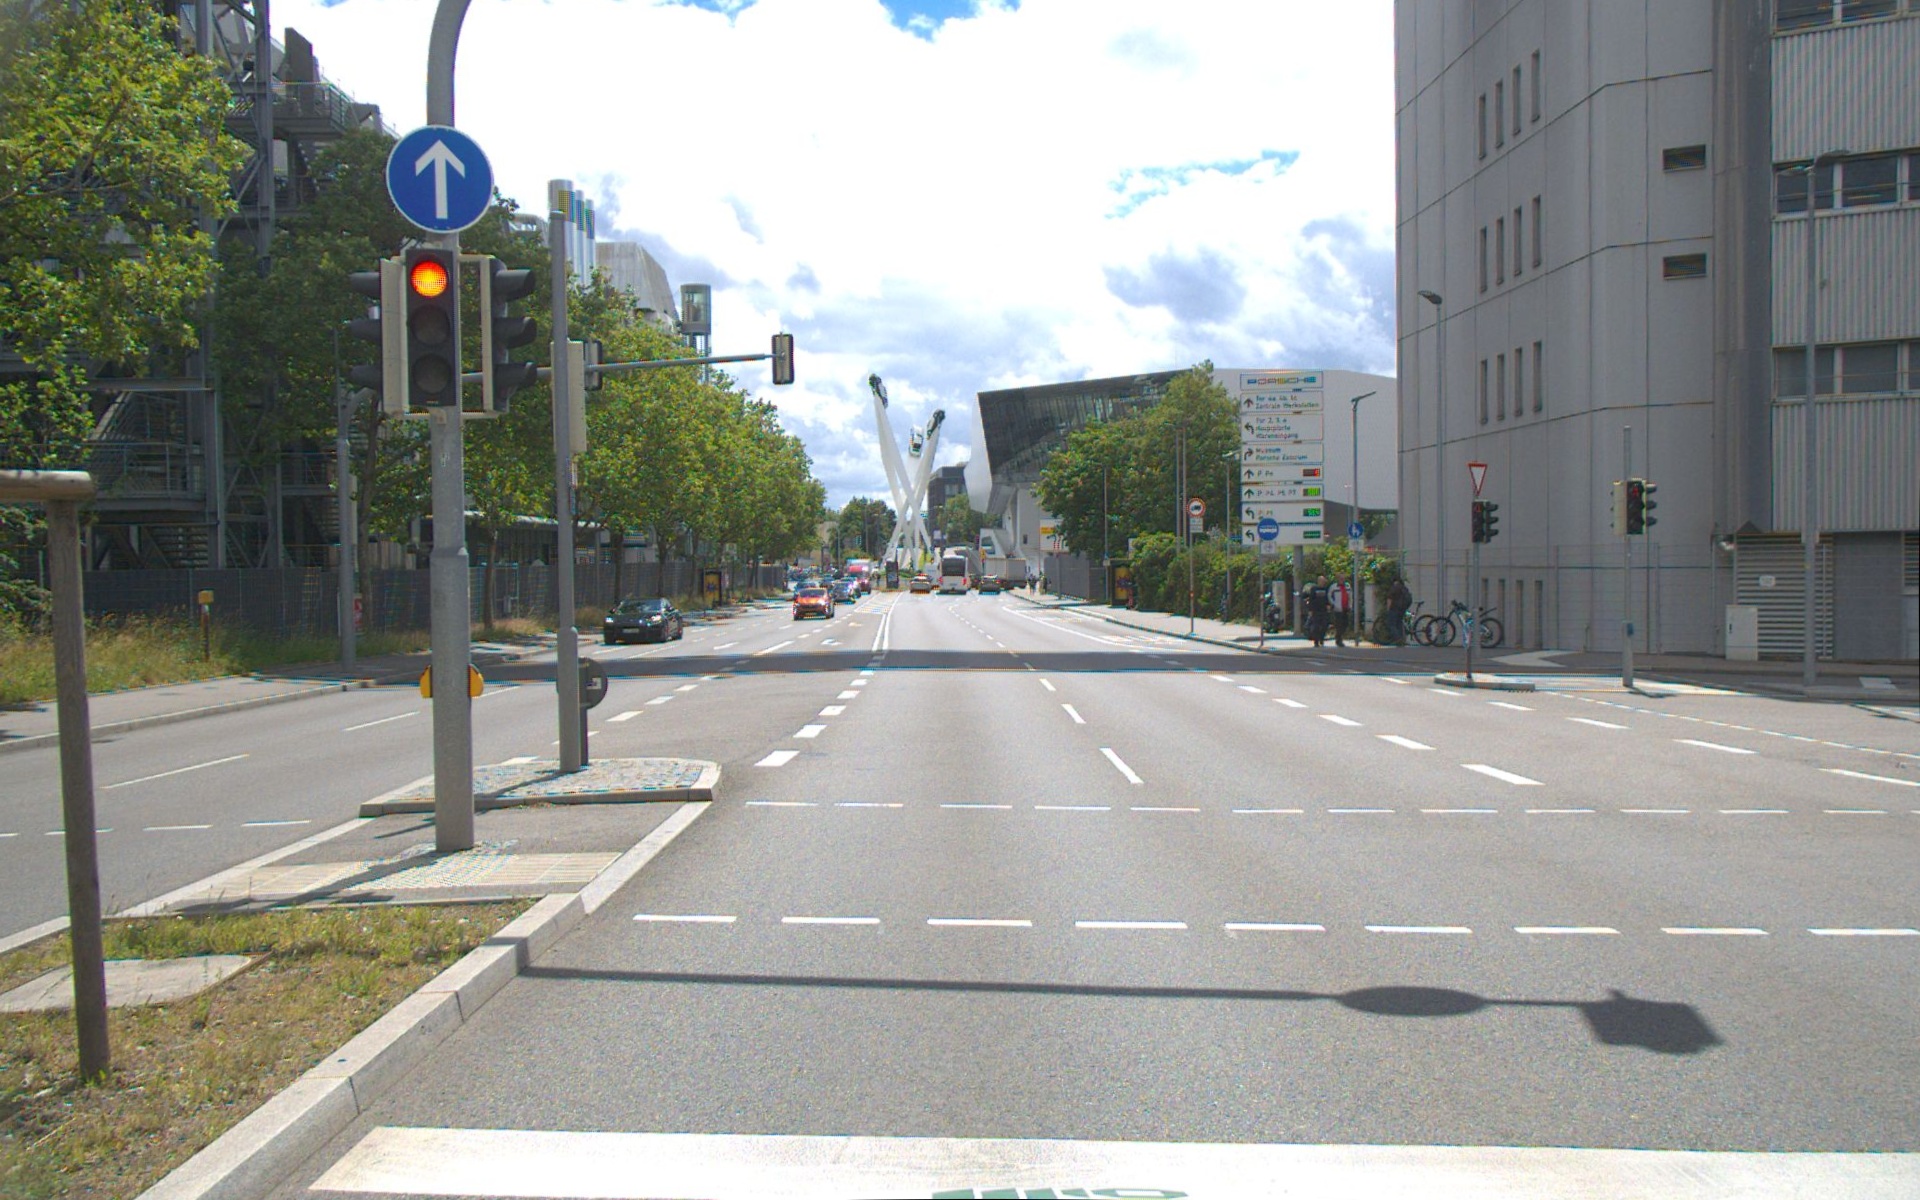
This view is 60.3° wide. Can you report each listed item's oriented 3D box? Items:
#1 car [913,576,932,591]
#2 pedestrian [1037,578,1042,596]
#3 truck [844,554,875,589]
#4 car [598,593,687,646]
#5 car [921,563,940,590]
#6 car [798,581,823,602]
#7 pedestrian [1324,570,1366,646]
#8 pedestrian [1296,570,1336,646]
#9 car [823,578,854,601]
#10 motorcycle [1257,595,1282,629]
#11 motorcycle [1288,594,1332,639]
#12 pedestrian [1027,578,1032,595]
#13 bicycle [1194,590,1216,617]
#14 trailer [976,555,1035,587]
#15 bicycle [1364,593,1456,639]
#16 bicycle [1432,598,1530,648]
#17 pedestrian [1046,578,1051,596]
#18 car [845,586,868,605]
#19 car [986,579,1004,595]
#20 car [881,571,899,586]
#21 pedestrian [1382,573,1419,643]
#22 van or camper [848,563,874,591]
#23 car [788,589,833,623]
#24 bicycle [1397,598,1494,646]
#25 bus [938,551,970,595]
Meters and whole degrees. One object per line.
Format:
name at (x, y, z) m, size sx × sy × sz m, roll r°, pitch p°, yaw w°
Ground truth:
car at (-3.321, -1.478, 148.390) m, size 1.525 × 1.295 × 3.701 m, roll -2°, pitch 0°, yaw 1°
pedestrian at (6.604, -1.099, 136.903) m, size 0.378 × 1.446 × 0.423 m, roll 1°, pitch -1°, yaw 0°
truck at (-9.997, -2.805, 165.110) m, size 2.538 × 3.382 × 7.078 m, roll 1°, pitch 0°, yaw 0°
car at (-10.076, 0.576, 52.857) m, size 1.878 × 1.514 × 4.772 m, roll -2°, pitch 1°, yaw 0°
car at (-3.049, -2.400, 171.193) m, size 1.806 × 2.669 × 3.998 m, roll 1°, pitch 0°, yaw -2°
car at (-11.657, -0.660, 129.222) m, size 1.761 × 1.601 × 3.998 m, roll 0°, pitch 0°, yaw -2°
pedestrian at (9.469, 0.202, 40.683) m, size 0.680 × 1.825 × 0.709 m, roll -3°, pitch 1°, yaw -16°
pedestrian at (8.765, 0.193, 40.716) m, size 0.631 × 1.825 × 0.709 m, roll -3°, pitch 1°, yaw -16°
car at (-8.142, -0.693, 110.729) m, size 1.733 × 1.445 × 3.701 m, roll -2°, pitch 0°, yaw 0°
motorcycle at (9.741, 0.367, 52.137) m, size 0.448 × 1.040 × 1.913 m, roll 1°, pitch 0°, yaw 1°
motorcycle at (9.548, 0.449, 45.150) m, size 0.410 × 1.186 × 1.951 m, roll 1°, pitch 0°, yaw -11°
pedestrian at (5.786, -1.146, 137.934) m, size 0.378 × 1.446 × 0.423 m, roll 1°, pitch -1°, yaw 0°
bicycle at (9.672, 0.150, 65.397) m, size 0.410 × 1.040 × 1.910 m, roll 1°, pitch 0°, yaw -5°
trailer at (4.849, -2.935, 172.207) m, size 3.250 × 3.047 × 10.380 m, roll 1°, pitch 0°, yaw 18°
bicycle at (11.153, 0.384, 41.021) m, size 2.180 × 1.105 × 0.475 m, roll 1°, pitch -1°, yaw 35°
bicycle at (12.155, 0.532, 38.626) m, size 2.149 × 1.105 × 0.475 m, roll 1°, pitch -1°, yaw 35°
pedestrian at (7.401, -1.075, 137.964) m, size 0.378 × 1.446 × 0.423 m, roll 1°, pitch -1°, yaw 0°
car at (-8.166, -0.377, 130.900) m, size 1.525 × 1.473 × 3.772 m, roll -2°, pitch 0°, yaw 0°
car at (3.113, -1.170, 146.300) m, size 1.525 × 1.295 × 3.701 m, roll -2°, pitch 0°, yaw 1°
car at (-6.564, -1.989, 155.579) m, size 1.525 × 1.295 × 3.701 m, roll -2°, pitch 0°, yaw 0°
pedestrian at (10.561, 0.198, 39.665) m, size 0.527 × 1.669 × 0.652 m, roll 1°, pitch -1°, yaw -29°
van or camper at (-8.812, -2.045, 147.677) m, size 2.005 × 2.509 × 5.594 m, roll 0°, pitch 0°, yaw 0°
car at (-6.976, 0.253, 77.416) m, size 1.733 × 1.445 × 3.701 m, roll -2°, pitch 0°, yaw 0°
bicycle at (11.638, 0.527, 39.696) m, size 2.180 × 1.105 × 0.475 m, roll 1°, pitch -1°, yaw 35°
bus at (-0.541, -2.376, 147.515) m, size 2.730 × 3.750 × 6.942 m, roll 1°, pitch 0°, yaw 0°
